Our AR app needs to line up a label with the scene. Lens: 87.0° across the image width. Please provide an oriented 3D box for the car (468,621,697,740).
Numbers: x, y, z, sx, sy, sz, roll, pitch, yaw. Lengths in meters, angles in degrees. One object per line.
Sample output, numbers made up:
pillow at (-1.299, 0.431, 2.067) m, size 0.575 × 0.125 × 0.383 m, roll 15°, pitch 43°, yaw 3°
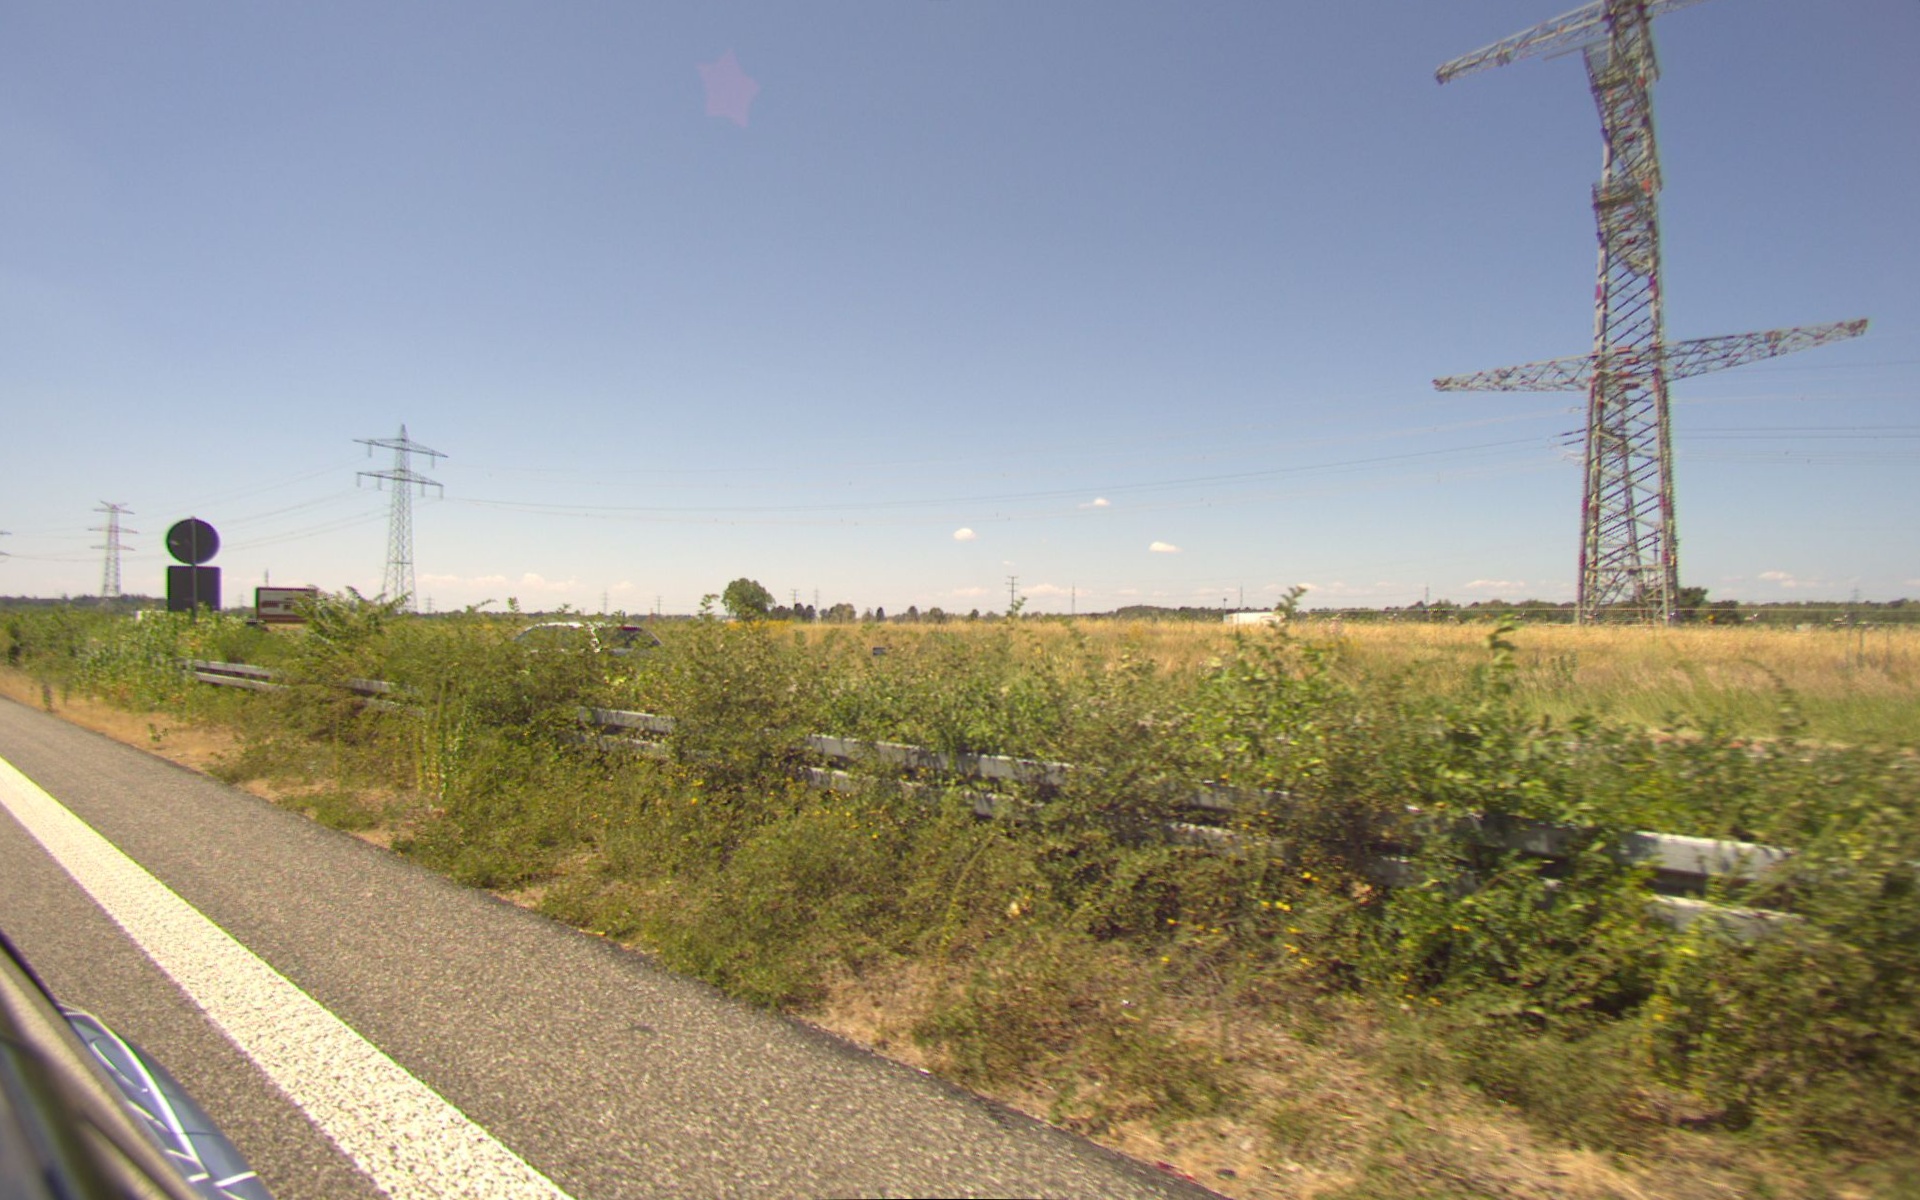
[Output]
car at (-6.685, 1.280, 17.720) m, size 4.410 × 1.793 × 1.898 m, roll 0°, pitch -1°, yaw 41°

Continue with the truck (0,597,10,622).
truck at (-159.152, 1.561, 166.699) m, size 9.648 × 4.115 × 3.172 m, roll 0°, pitch -2°, yaw 43°

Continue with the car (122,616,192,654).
car at (-44.545, 1.893, 56.099) m, size 5.835 × 2.002 × 1.976 m, roll -1°, pitch -1°, yaw 41°
